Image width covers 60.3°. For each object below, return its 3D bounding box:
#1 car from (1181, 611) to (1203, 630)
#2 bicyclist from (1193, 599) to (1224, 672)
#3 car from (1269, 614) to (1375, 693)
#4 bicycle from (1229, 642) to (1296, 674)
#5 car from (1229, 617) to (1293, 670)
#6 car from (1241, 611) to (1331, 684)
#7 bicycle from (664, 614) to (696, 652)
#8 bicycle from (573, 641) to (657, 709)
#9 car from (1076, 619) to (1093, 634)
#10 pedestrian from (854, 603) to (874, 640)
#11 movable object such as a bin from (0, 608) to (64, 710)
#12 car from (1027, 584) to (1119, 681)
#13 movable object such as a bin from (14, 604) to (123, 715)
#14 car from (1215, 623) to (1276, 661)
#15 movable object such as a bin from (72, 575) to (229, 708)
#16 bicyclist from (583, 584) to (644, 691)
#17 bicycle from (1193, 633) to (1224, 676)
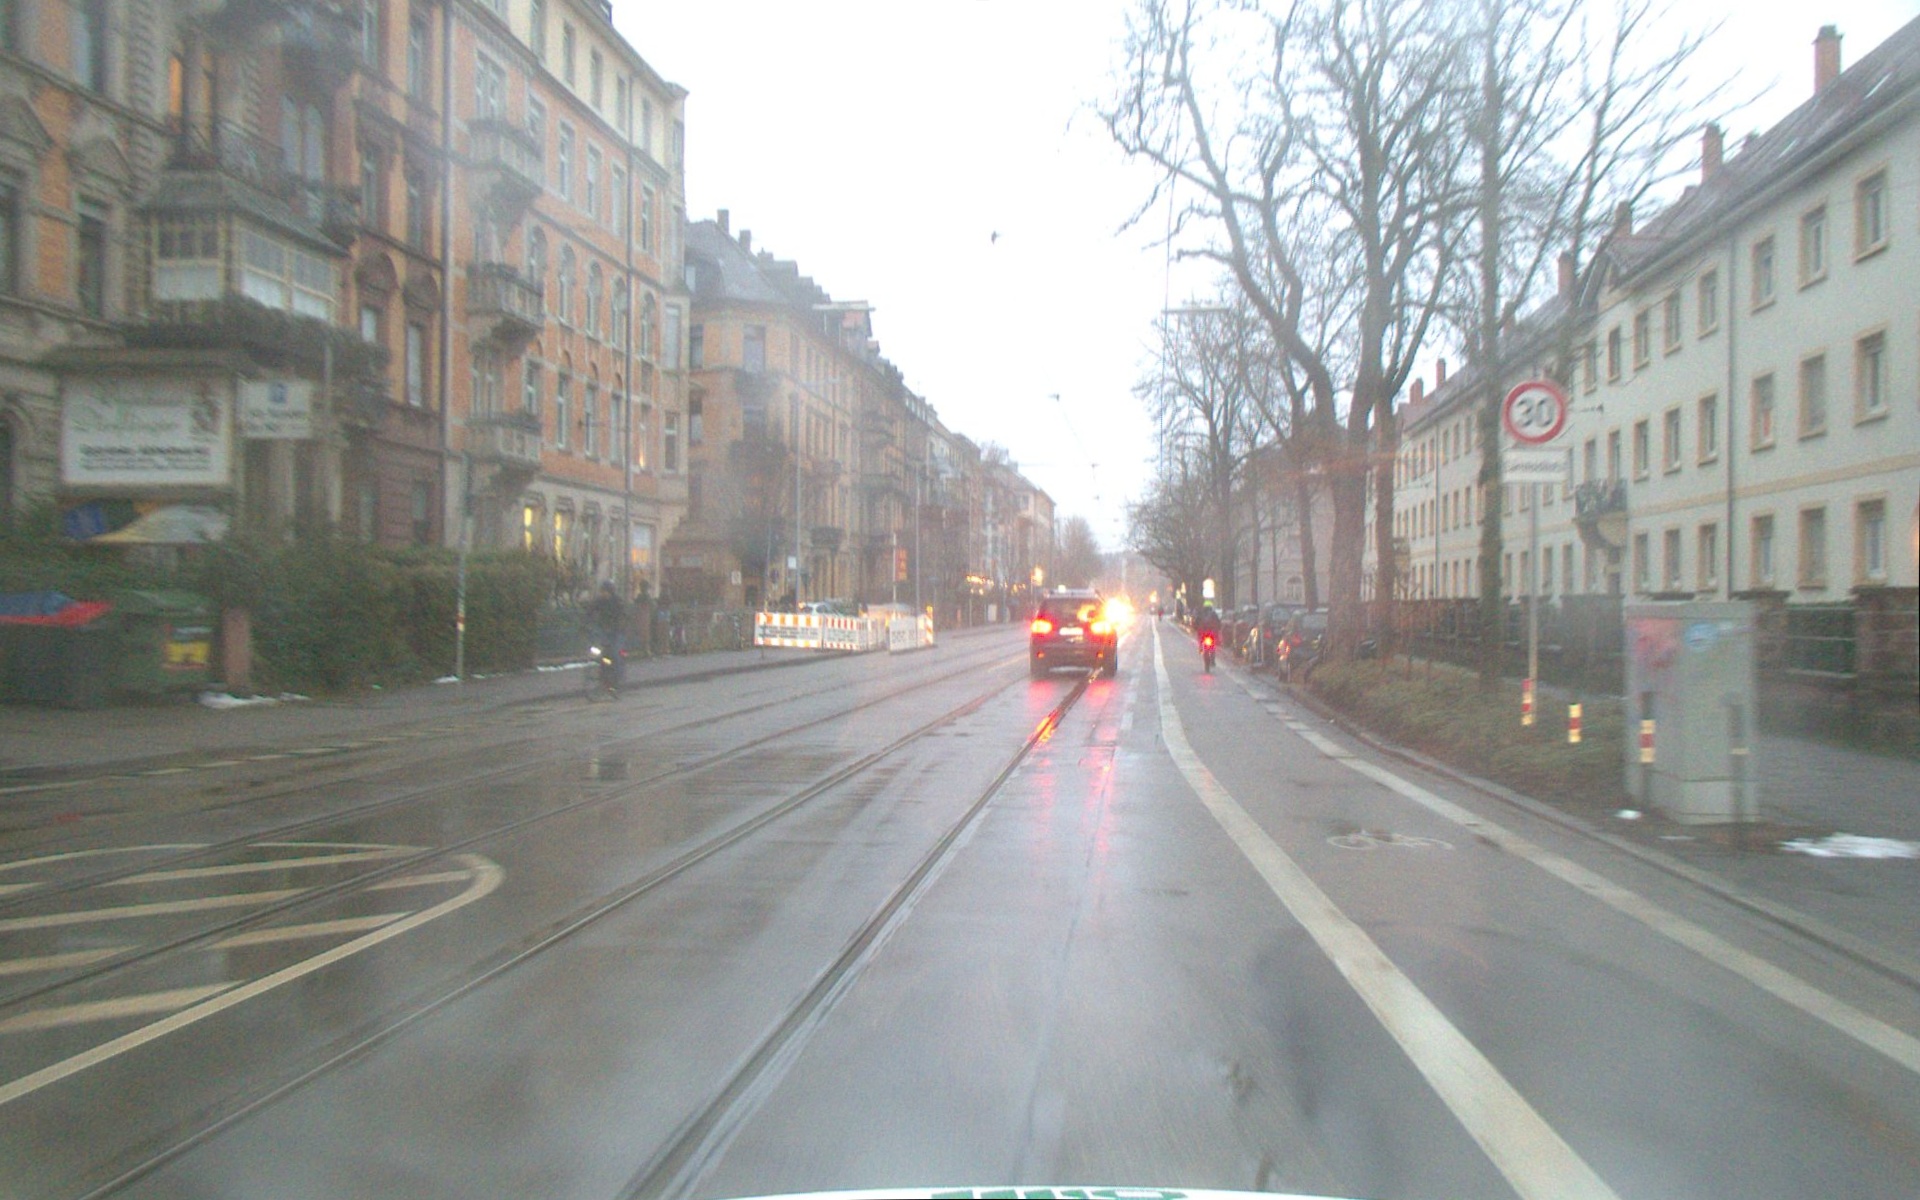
[{"bbox_3d":[19.498,1.762,139.042,1.747,1.536,4.111,1,-1,7],"label":"car"},{"bbox_3d":[6.159,0.876,40.989,0.715,1.767,0.766,2,-1,8],"label":"bicyclist"},{"bbox_3d":[7.599,1.089,35.010,1.747,1.536,3.990,1,-1,6],"label":"car"},{"bbox_3d":[9.288,1.785,50.752,1.971,0.932,0.465,0,-1,16],"label":"bicycle"},{"bbox_3d":[9.911,1.402,54.691,1.865,1.638,4.564,1,-1,8],"label":"car"},{"bbox_3d":[8.587,1.225,43.901,1.865,1.758,4.905,1,-1,6],"label":"car"},{"bbox_3d":[-7.294,0.854,43.110,0.258,0.930,1.686,7,0,7],"label":"bicycle"},{"bbox_3d":[-5.453,1.168,26.269,0.664,0.989,1.934,2,-1,8],"label":"bicycle"},{"bbox_3d":[15.210,3.205,202.140,1.883,1.750,4.003,1,-1,7],"label":"car"},{"bbox_3d":[-4.762,1.068,81.927,0.711,1.804,0.763,2,-1,-30],"label":"pedestrian"},{"bbox_3d":[-12.092,0.718,20.703,1.160,1.228,0.946,2,-1,4],"label":"movable object such as a bin"},{"bbox_3d":[2.557,0.697,36.495,1.764,1.903,4.020,4,0,6],"label":"car"},{"bbox_3d":[-11.042,0.729,20.502,0.876,1.315,0.747,2,-1,4],"label":"movable object such as a bin"},{"bbox_3d":[11.249,1.637,65.394,1.839,1.445,4.345,0,-1,3],"label":"car"},{"bbox_3d":[-10.441,0.526,21.382,1.217,1.613,1.308,2,-1,11],"label":"movable object such as a bin"},{"bbox_3d":[-5.451,0.585,26.019,0.669,1.644,0.766,2,-1,8],"label":"bicyclist"},{"bbox_3d":[6.157,1.343,41.043,0.716,1.024,1.765,2,-1,8],"label":"bicycle"}]
